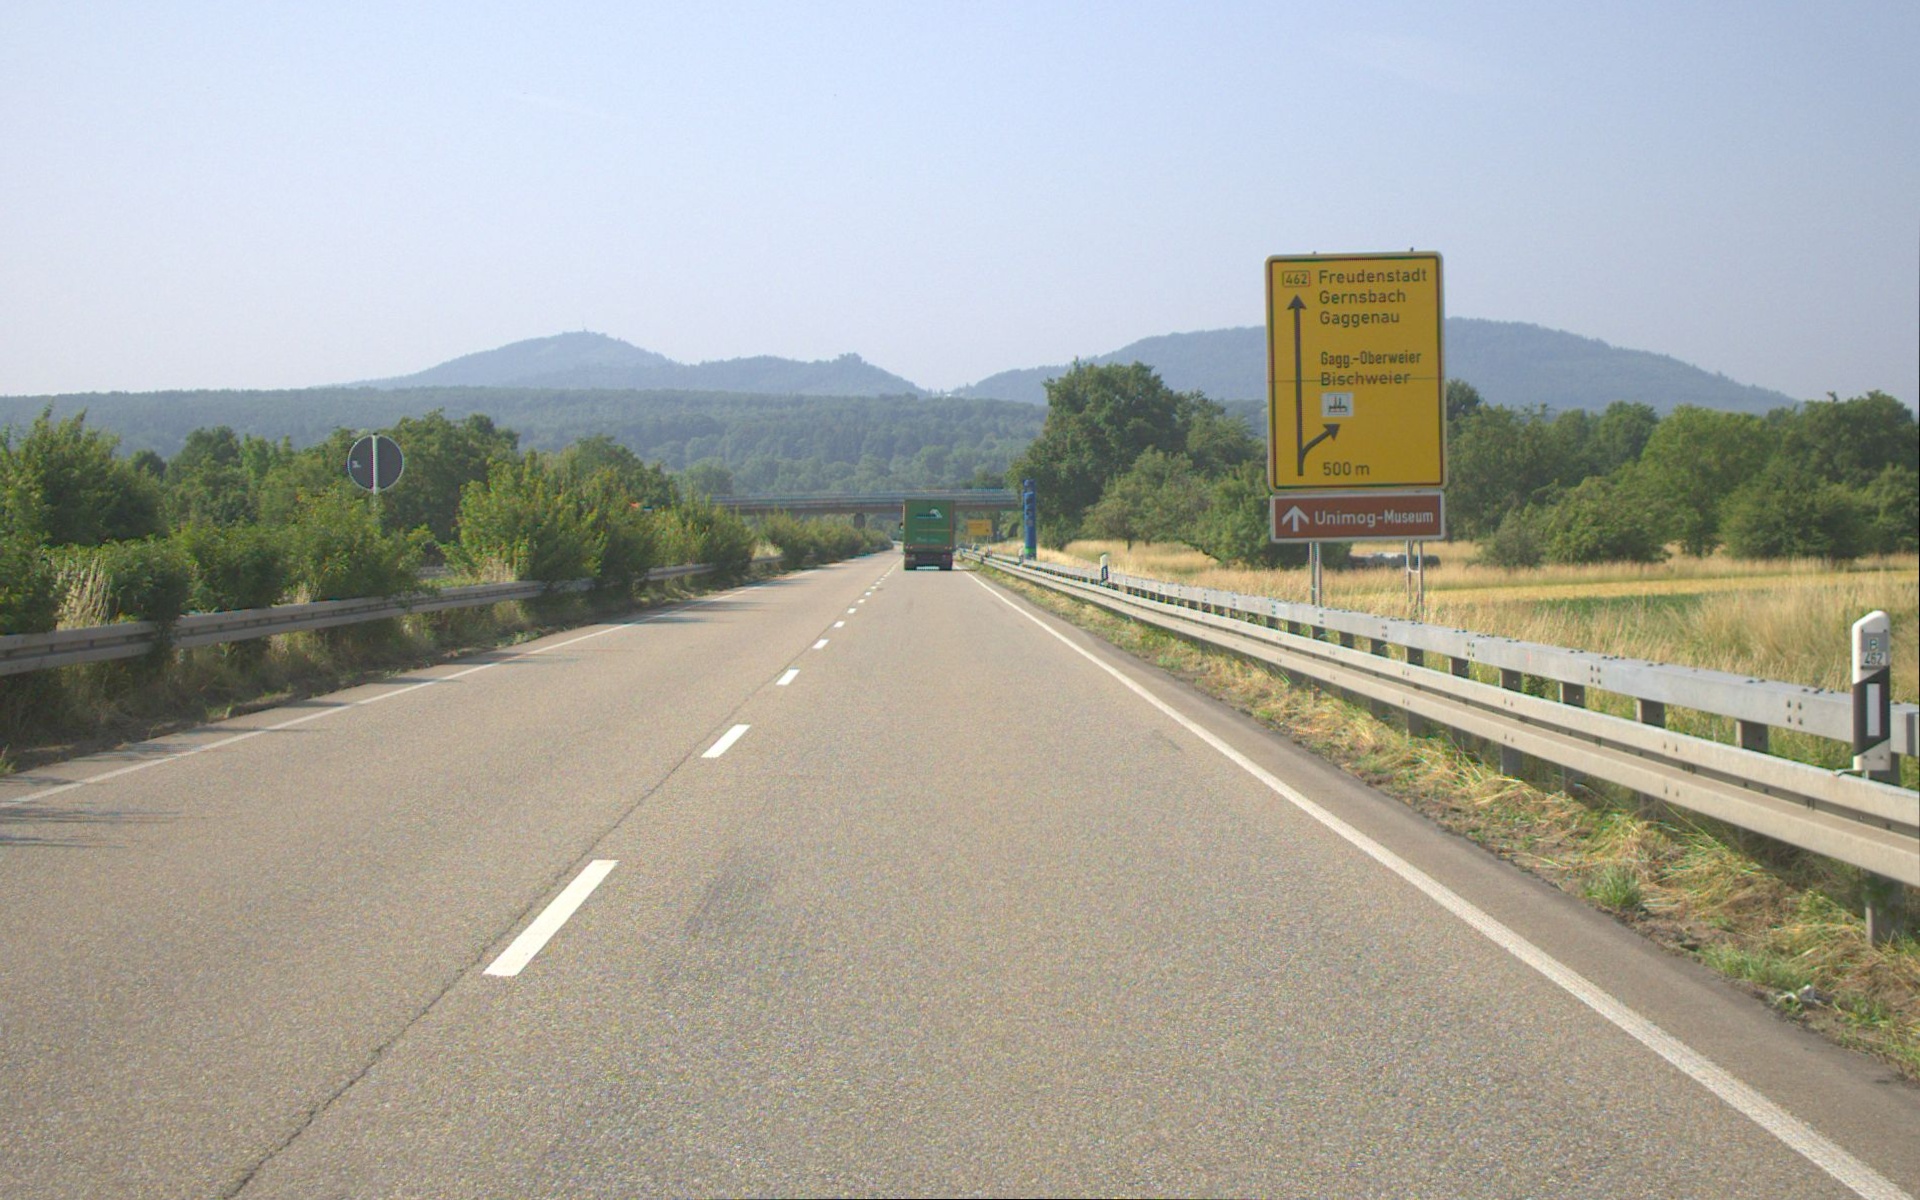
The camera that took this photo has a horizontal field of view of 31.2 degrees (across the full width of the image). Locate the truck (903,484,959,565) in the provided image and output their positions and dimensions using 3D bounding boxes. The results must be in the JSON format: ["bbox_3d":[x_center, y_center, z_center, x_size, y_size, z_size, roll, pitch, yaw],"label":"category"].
[{"bbox_3d":[-1.483,-3.985,178.534,2.722,3.952,10.417,1,2,0],"label":"truck"}]
